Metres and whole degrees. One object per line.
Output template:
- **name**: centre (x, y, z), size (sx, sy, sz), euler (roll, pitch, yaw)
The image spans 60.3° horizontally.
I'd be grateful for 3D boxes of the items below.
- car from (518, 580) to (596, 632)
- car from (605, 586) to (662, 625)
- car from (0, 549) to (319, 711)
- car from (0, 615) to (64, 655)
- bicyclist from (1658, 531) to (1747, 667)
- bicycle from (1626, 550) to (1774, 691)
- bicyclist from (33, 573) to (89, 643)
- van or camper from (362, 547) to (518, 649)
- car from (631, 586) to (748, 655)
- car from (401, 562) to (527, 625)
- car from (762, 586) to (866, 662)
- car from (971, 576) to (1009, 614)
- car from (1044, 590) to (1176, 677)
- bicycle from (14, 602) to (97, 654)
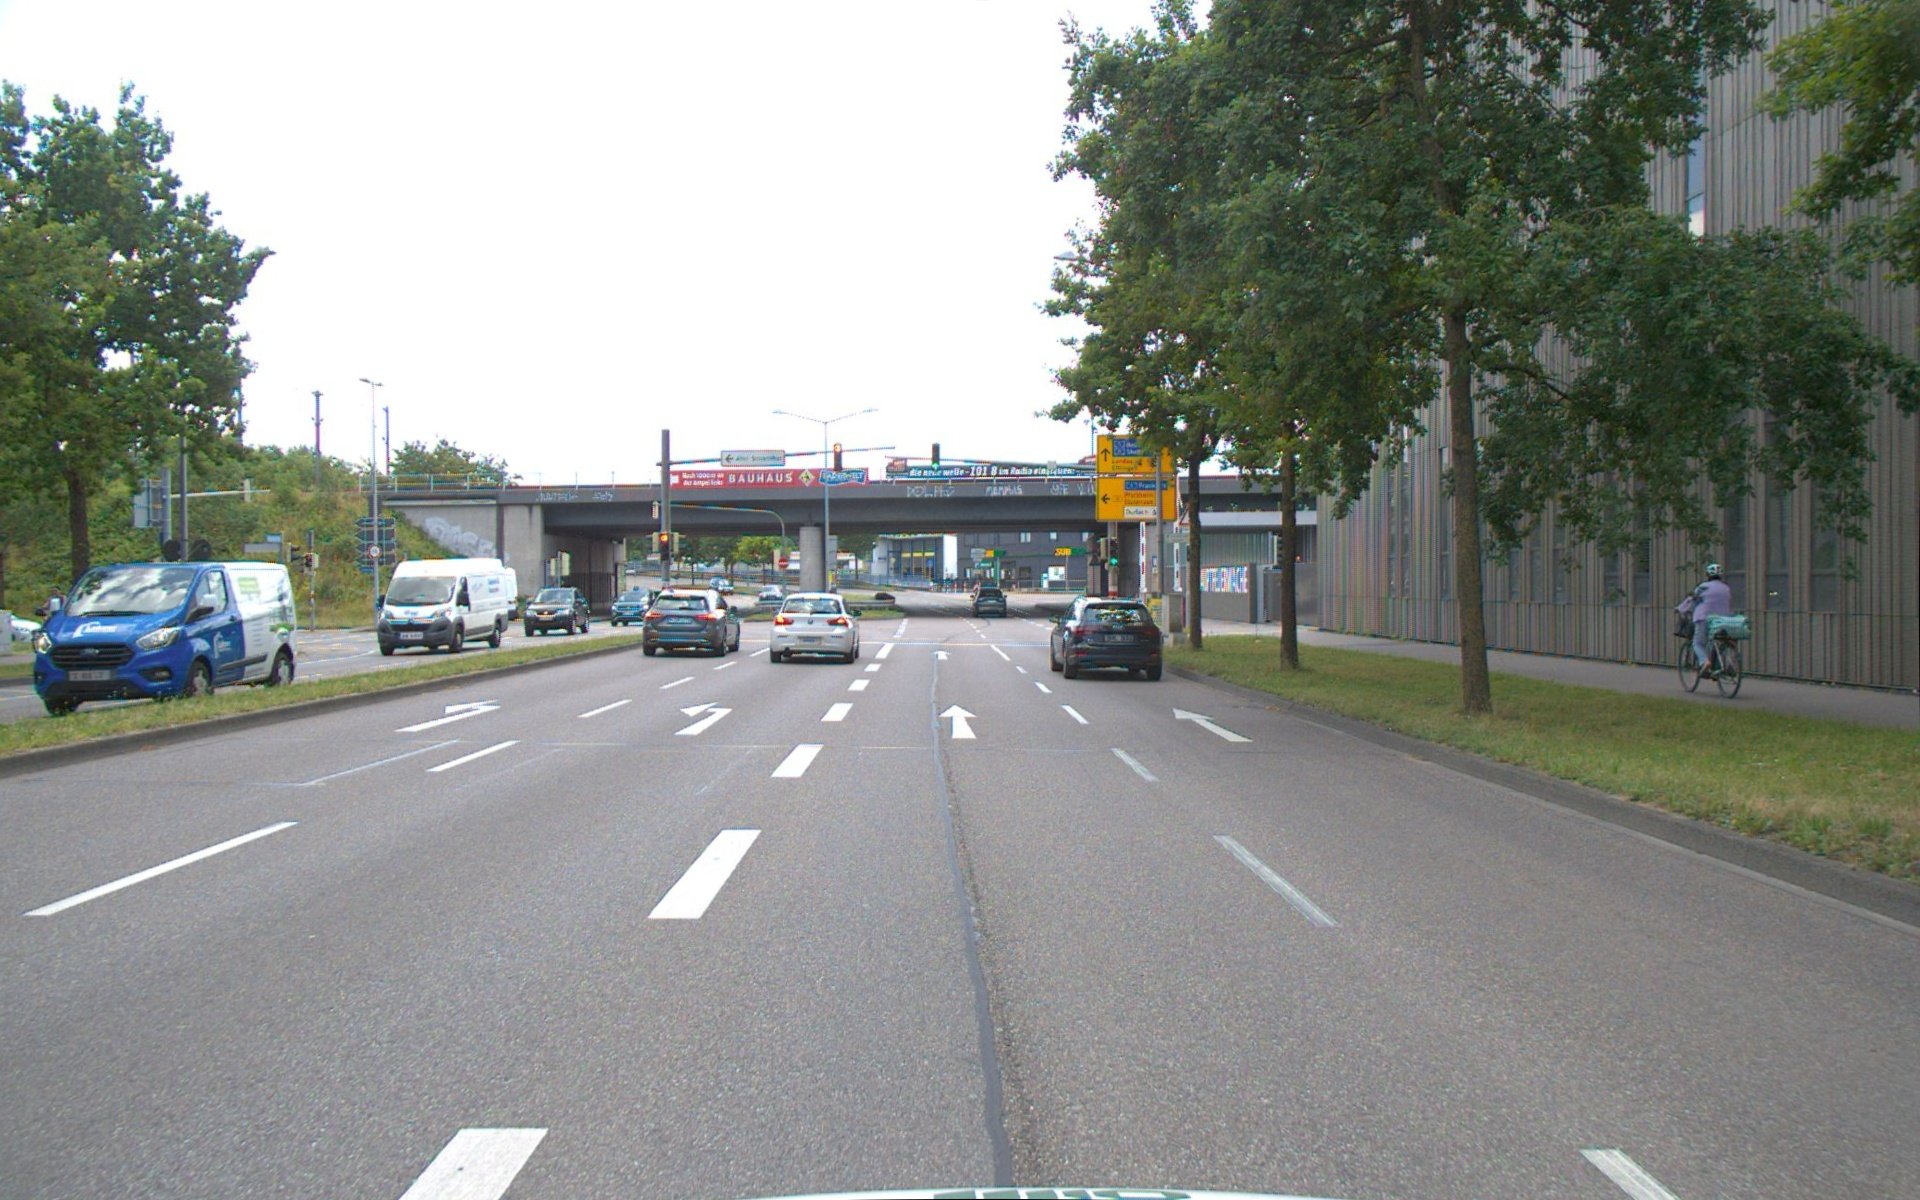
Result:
- **car**: centre (-14.847, 0.194, 61.174), size (1.953, 1.797, 4.219), euler (-1, 0, -2)
- **car**: centre (-14.560, 0.231, 73.922), size (1.769, 1.660, 4.391), euler (0, 0, -1)
- **car**: centre (-11.074, 0.349, 23.368), size (2.146, 1.998, 5.191), euler (-1, 1, -2)
- **car**: centre (-35.804, 1.291, 61.194), size (4.217, 1.403, 2.001), euler (0, 0, 5)
- **bicyclist**: centre (10.044, -0.015, 22.402), size (0.701, 1.800, 0.987), euler (-1, 0, -5)
- **bicycle**: centre (10.037, 0.261, 22.550), size (0.705, 1.805, 2.531), euler (-1, 0, -5)
- **bicyclist**: centre (-23.329, 0.196, 42.926), size (0.874, 1.777, 0.997), euler (1, 0, -2)
- **van or camper**: centre (-14.260, -0.072, 45.877), size (2.304, 2.584, 7.061), euler (1, 0, -2)
- **car**: centre (-6.111, 0.425, 37.872), size (1.953, 1.440, 4.831), euler (1, 1, -1)
- **car**: centre (-23.229, -0.316, 77.477), size (5.334, 2.871, 2.366), euler (-1, 0, -27)
- **car**: centre (-3.079, 0.463, 35.594), size (1.876, 1.439, 4.294), euler (3, 0, -1)
- **car**: centre (1.684, -0.279, 94.122), size (1.953, 2.073, 4.712), euler (-1, 0, -1)
- **car**: centre (2.715, 0.563, 31.013), size (1.953, 1.414, 4.575), euler (1, 1, -1)
- **bicycle**: centre (-23.385, 0.696, 42.807), size (0.805, 1.292, 2.393), euler (1, 0, 0)
